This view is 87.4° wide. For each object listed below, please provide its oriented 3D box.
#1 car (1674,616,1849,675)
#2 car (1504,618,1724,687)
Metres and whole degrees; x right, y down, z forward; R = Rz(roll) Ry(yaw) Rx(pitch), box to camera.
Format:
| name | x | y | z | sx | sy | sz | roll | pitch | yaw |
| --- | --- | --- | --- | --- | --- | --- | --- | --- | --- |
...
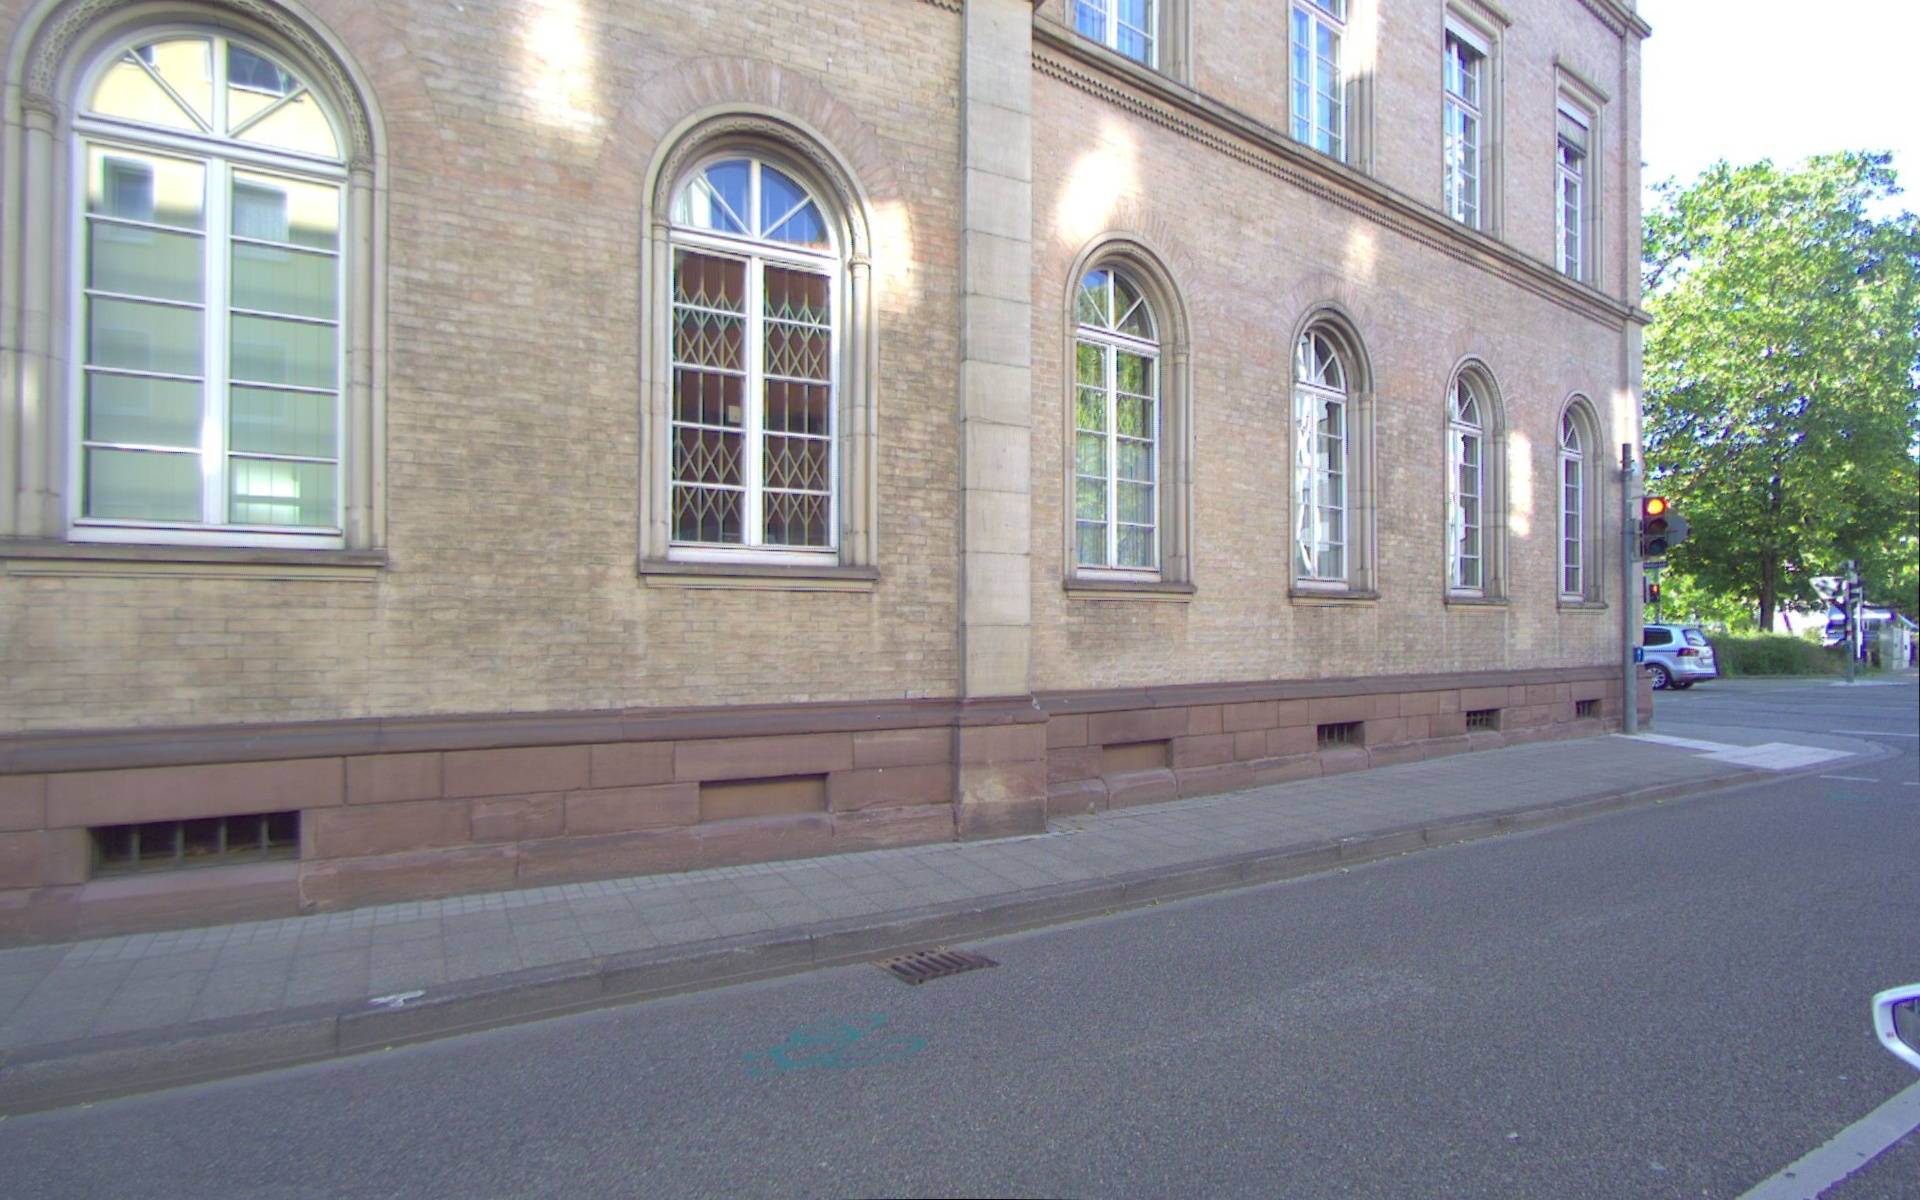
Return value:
| name | x | y | z | sx | sy | sz | roll | pitch | yaw |
| --- | --- | --- | --- | --- | --- | --- | --- | --- | --- |
| car | 26.328 | 1.453 | 33.113 | 1.888 | 1.801 | 4.193 | 1 | -2 | -37 |
| car | 17.749 | 1.413 | 27.494 | 1.782 | 1.729 | 4.729 | 1 | -3 | -35 |
